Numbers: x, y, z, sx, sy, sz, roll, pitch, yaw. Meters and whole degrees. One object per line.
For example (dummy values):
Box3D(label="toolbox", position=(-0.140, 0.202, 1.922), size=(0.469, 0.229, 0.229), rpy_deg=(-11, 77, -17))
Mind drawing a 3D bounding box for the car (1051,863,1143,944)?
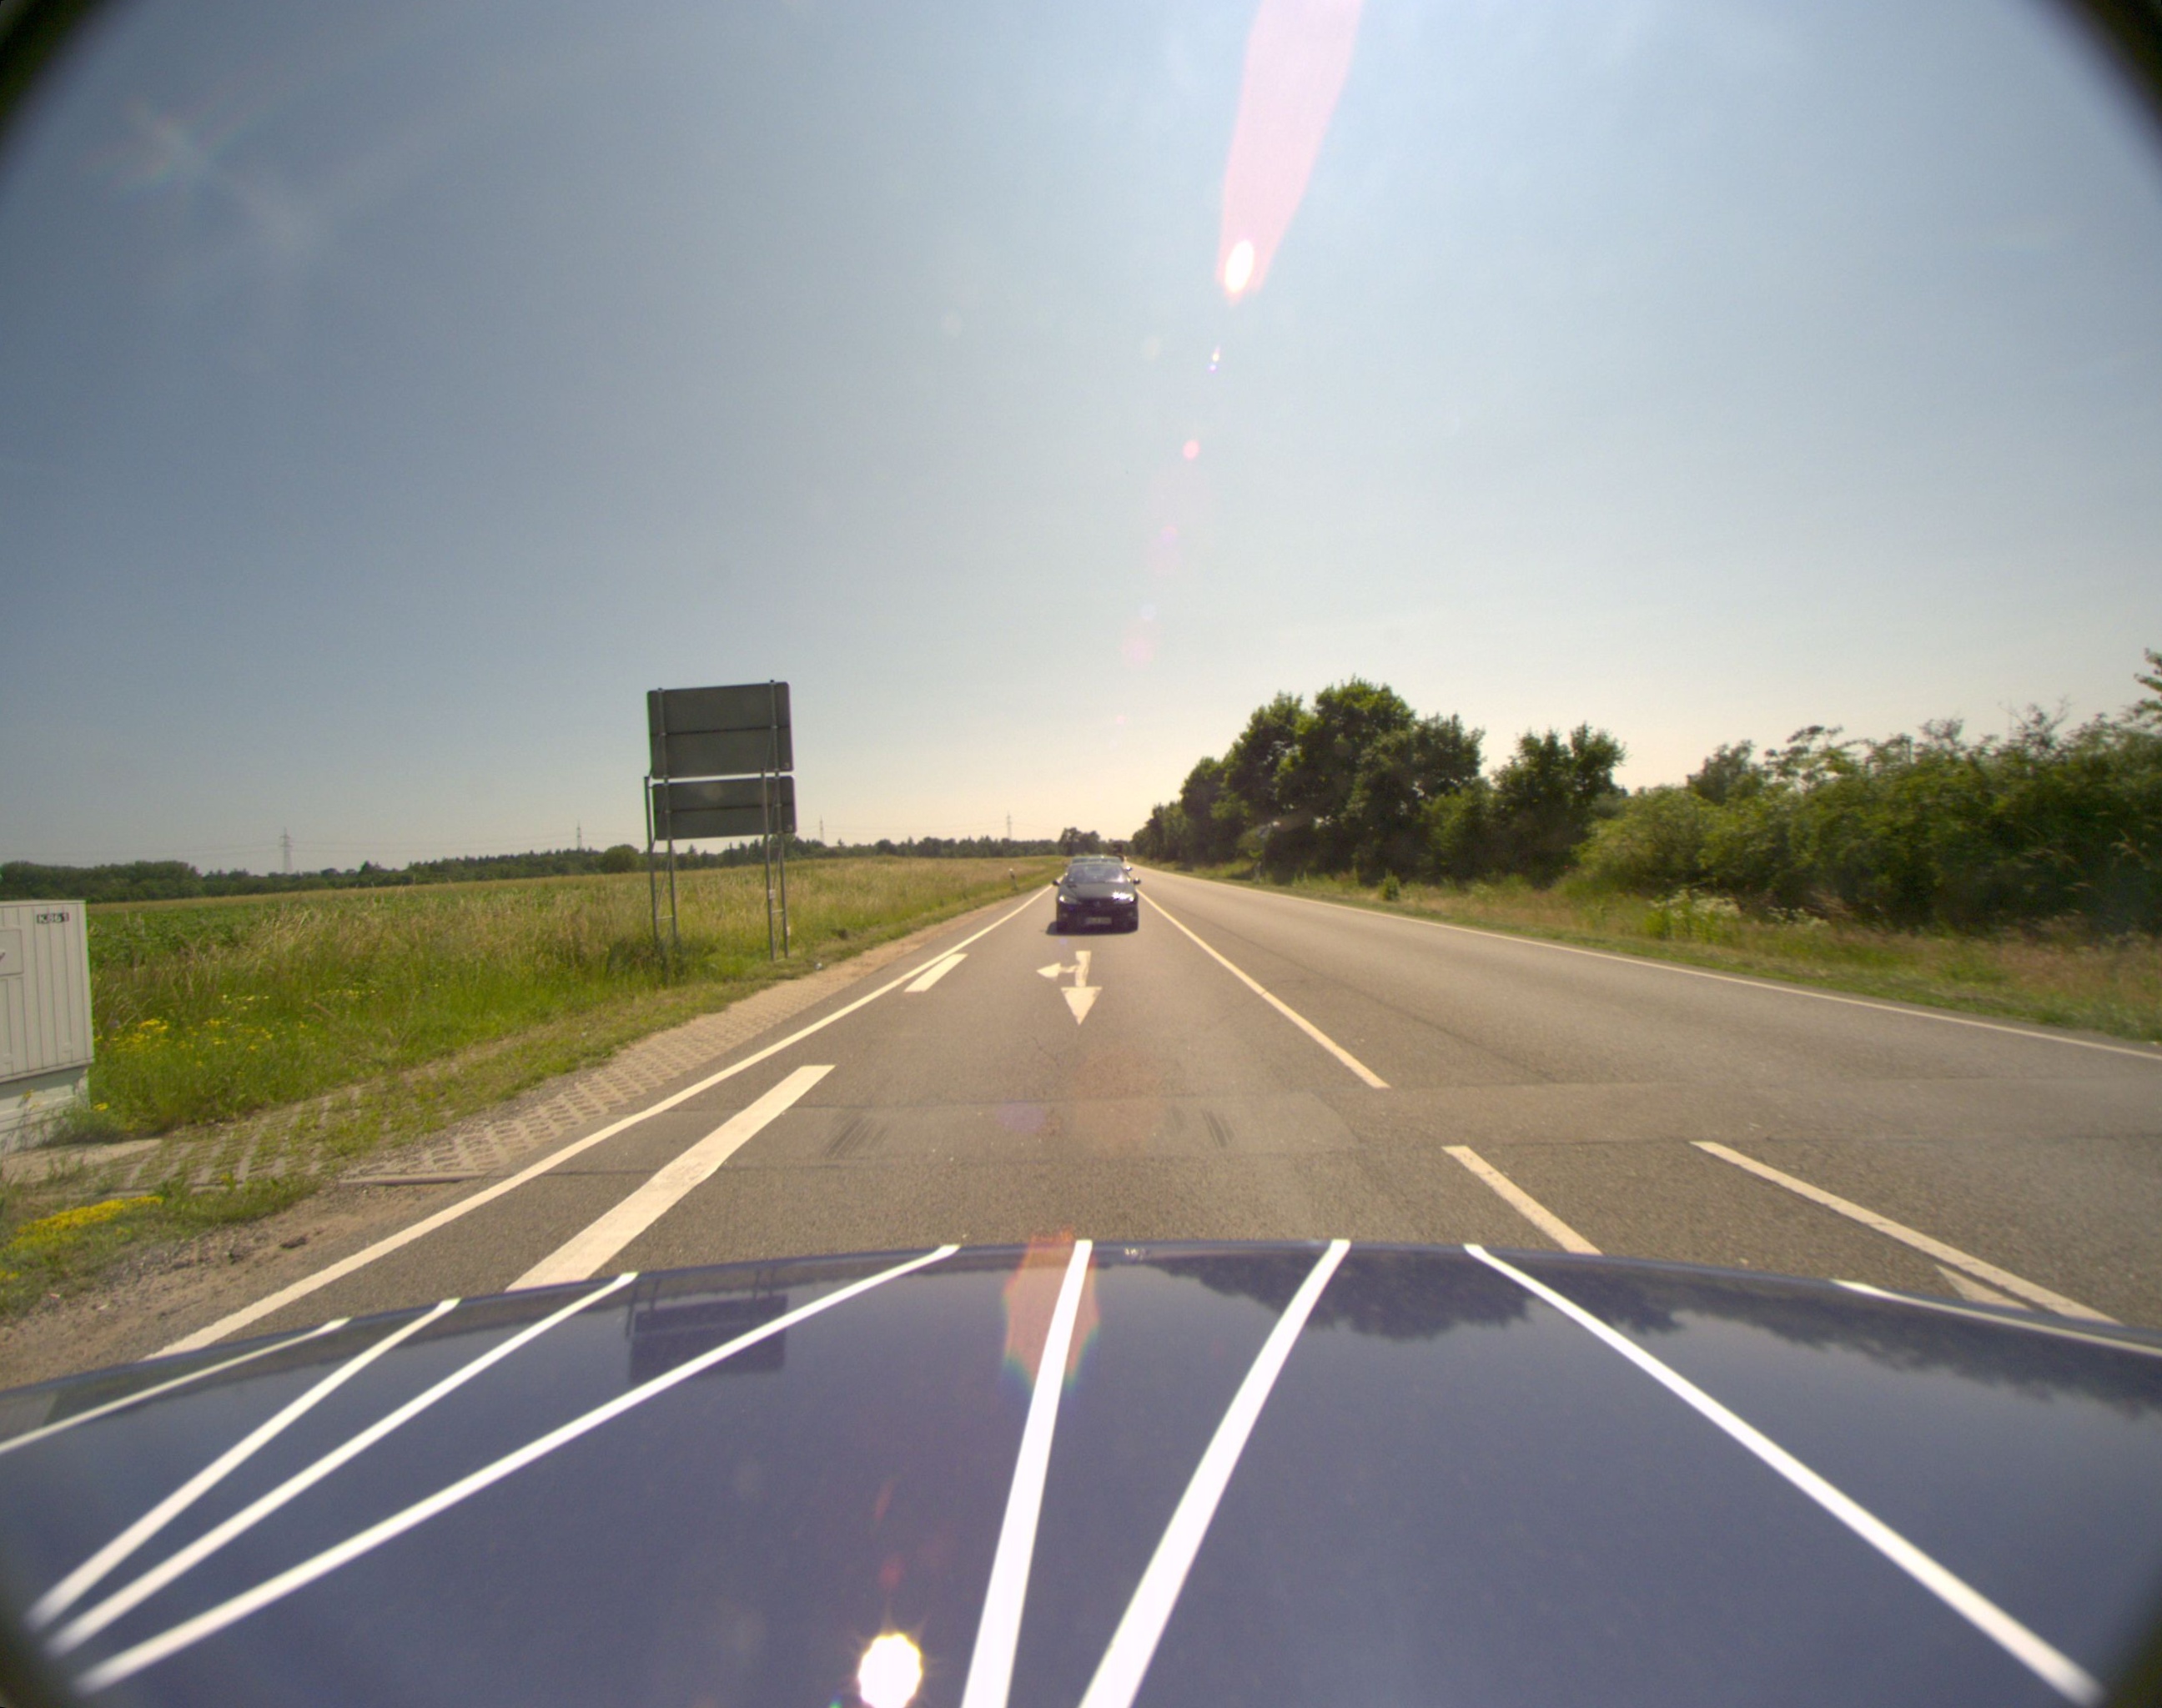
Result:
Box3D(label="car", position=(0.342, 0.951, 16.076), size=(1.665, 1.389, 3.731), rpy_deg=(-2, 1, 1))

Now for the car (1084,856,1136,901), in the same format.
Box3D(label="car", position=(1.008, 0.847, 28.177), size=(1.665, 1.477, 3.730), rpy_deg=(-2, 1, -1))

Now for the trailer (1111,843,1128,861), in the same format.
Box3D(label="trailer", position=(7.918, -0.381, 157.914), size=(2.669, 3.440, 14.948), rpy_deg=(-1, 0, 0))

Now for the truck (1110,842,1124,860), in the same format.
Box3D(label="truck", position=(7.780, -0.637, 165.179), size=(2.709, 3.908, 5.952), rpy_deg=(-1, 0, 0))

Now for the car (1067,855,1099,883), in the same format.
Box3D(label="car", position=(0.092, 0.835, 43.540), size=(1.665, 1.449, 4.172), rpy_deg=(-2, 1, 0))
